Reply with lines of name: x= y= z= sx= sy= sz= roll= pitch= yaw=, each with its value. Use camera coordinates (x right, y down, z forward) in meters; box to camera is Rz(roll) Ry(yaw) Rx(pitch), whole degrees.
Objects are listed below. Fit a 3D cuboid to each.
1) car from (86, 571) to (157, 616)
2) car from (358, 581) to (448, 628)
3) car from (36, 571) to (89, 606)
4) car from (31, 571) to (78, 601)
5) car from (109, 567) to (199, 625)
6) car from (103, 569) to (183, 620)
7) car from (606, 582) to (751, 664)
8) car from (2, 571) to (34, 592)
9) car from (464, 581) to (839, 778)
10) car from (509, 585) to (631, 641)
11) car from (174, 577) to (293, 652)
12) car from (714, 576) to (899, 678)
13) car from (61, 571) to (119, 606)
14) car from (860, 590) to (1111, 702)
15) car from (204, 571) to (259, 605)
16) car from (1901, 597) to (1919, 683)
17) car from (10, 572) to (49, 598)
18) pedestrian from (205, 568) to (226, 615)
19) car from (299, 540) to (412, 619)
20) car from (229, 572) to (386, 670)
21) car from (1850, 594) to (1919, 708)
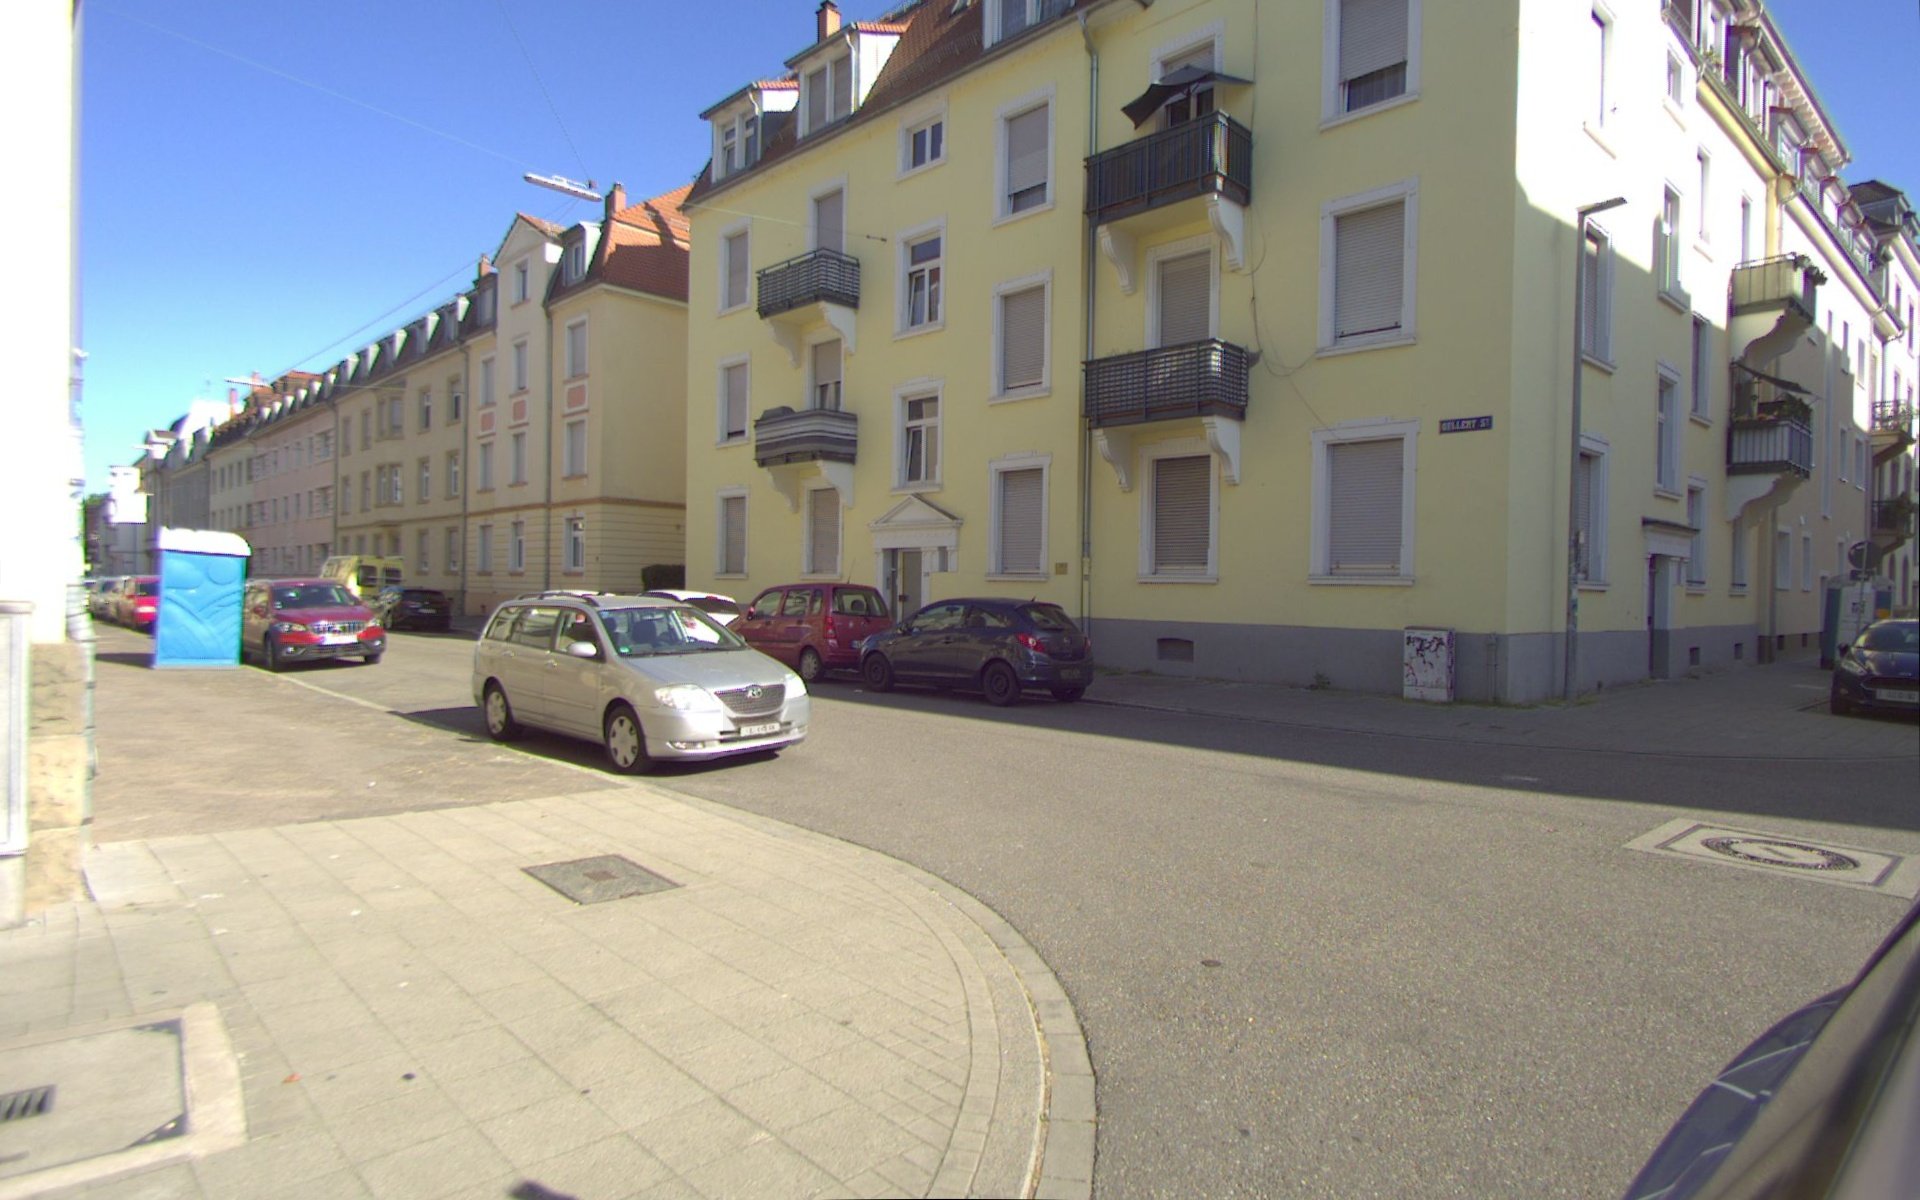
car: x=-31.473 y=-0.288 z=37.961 sx=1.722 sy=1.591 sz=3.716 roll=-3 pitch=3 yaw=-44
car: x=-18.250 y=0.149 z=33.125 sx=3.679 sy=1.445 sz=1.552 roll=1 pitch=-1 yaw=44
car: x=-43.876 y=-0.588 z=49.475 sx=1.722 sy=1.591 sz=3.716 roll=-3 pitch=3 yaw=-44
car: x=-50.184 y=-0.814 z=56.085 sx=1.722 sy=1.591 sz=3.716 roll=-3 pitch=3 yaw=-44
car: x=-24.420 y=-0.171 z=30.614 sx=1.722 sy=1.591 sz=3.716 roll=-3 pitch=3 yaw=-44
car: x=-27.507 y=-0.236 z=34.040 sx=1.722 sy=1.591 sz=3.716 roll=-3 pitch=3 yaw=-44
car: x=-5.809 y=0.448 z=20.763 sx=3.057 sy=1.552 sz=1.495 roll=1 pitch=-1 yaw=43
car: x=-73.913 y=-1.462 z=79.400 sx=1.722 sy=1.591 sz=3.716 roll=-3 pitch=3 yaw=-44
car: x=-3.167 y=0.592 z=9.880 sx=4.163 sy=1.490 sz=1.667 roll=1 pitch=1 yaw=43
car: x=-9.340 y=0.287 z=24.152 sx=3.237 sy=1.249 sz=1.339 roll=1 pitch=-1 yaw=41
car: x=-17.349 y=0.277 z=24.108 sx=1.722 sy=1.591 sz=3.716 roll=-3 pitch=3 yaw=-44
car: x=-2.734 y=0.434 z=17.721 sx=3.177 sy=1.605 sz=1.546 roll=1 pitch=-1 yaw=43
car: x=-38.983 y=-0.530 z=45.323 sx=1.722 sy=1.451 sz=3.500 roll=-3 pitch=3 yaw=-44
car: x=0.296 y=0.608 z=14.857 sx=3.499 sy=1.397 sz=1.620 roll=1 pitch=-1 yaw=44
car: x=-37.337 y=-0.645 z=51.837 sx=1.722 sy=1.591 sz=3.716 roll=-3 pitch=3 yaw=-44
car: x=18.119 y=0.697 z=17.934 sx=3.657 sy=1.443 sz=1.707 roll=-1 pitch=3 yaw=-41
car: x=-60.152 y=-0.964 z=65.389 sx=1.722 sy=1.591 sz=3.716 roll=-3 pitch=3 yaw=-44
pedestrian: x=-32.500 y=-0.363 z=44.182 sx=0.627 sy=2.039 sz=0.594 roll=1 pitch=0 yaw=-43
car: x=-22.494 y=-0.714 z=37.538 sx=6.016 sy=2.676 sz=2.080 roll=1 pitch=-1 yaw=44
car: x=-12.217 y=0.299 z=18.867 sx=1.722 sy=1.591 sz=3.716 roll=-3 pitch=3 yaw=-44
car: x=14.108 y=0.687 z=14.359 sx=3.657 sy=1.443 sz=1.707 roll=-1 pitch=3 yaw=-41
